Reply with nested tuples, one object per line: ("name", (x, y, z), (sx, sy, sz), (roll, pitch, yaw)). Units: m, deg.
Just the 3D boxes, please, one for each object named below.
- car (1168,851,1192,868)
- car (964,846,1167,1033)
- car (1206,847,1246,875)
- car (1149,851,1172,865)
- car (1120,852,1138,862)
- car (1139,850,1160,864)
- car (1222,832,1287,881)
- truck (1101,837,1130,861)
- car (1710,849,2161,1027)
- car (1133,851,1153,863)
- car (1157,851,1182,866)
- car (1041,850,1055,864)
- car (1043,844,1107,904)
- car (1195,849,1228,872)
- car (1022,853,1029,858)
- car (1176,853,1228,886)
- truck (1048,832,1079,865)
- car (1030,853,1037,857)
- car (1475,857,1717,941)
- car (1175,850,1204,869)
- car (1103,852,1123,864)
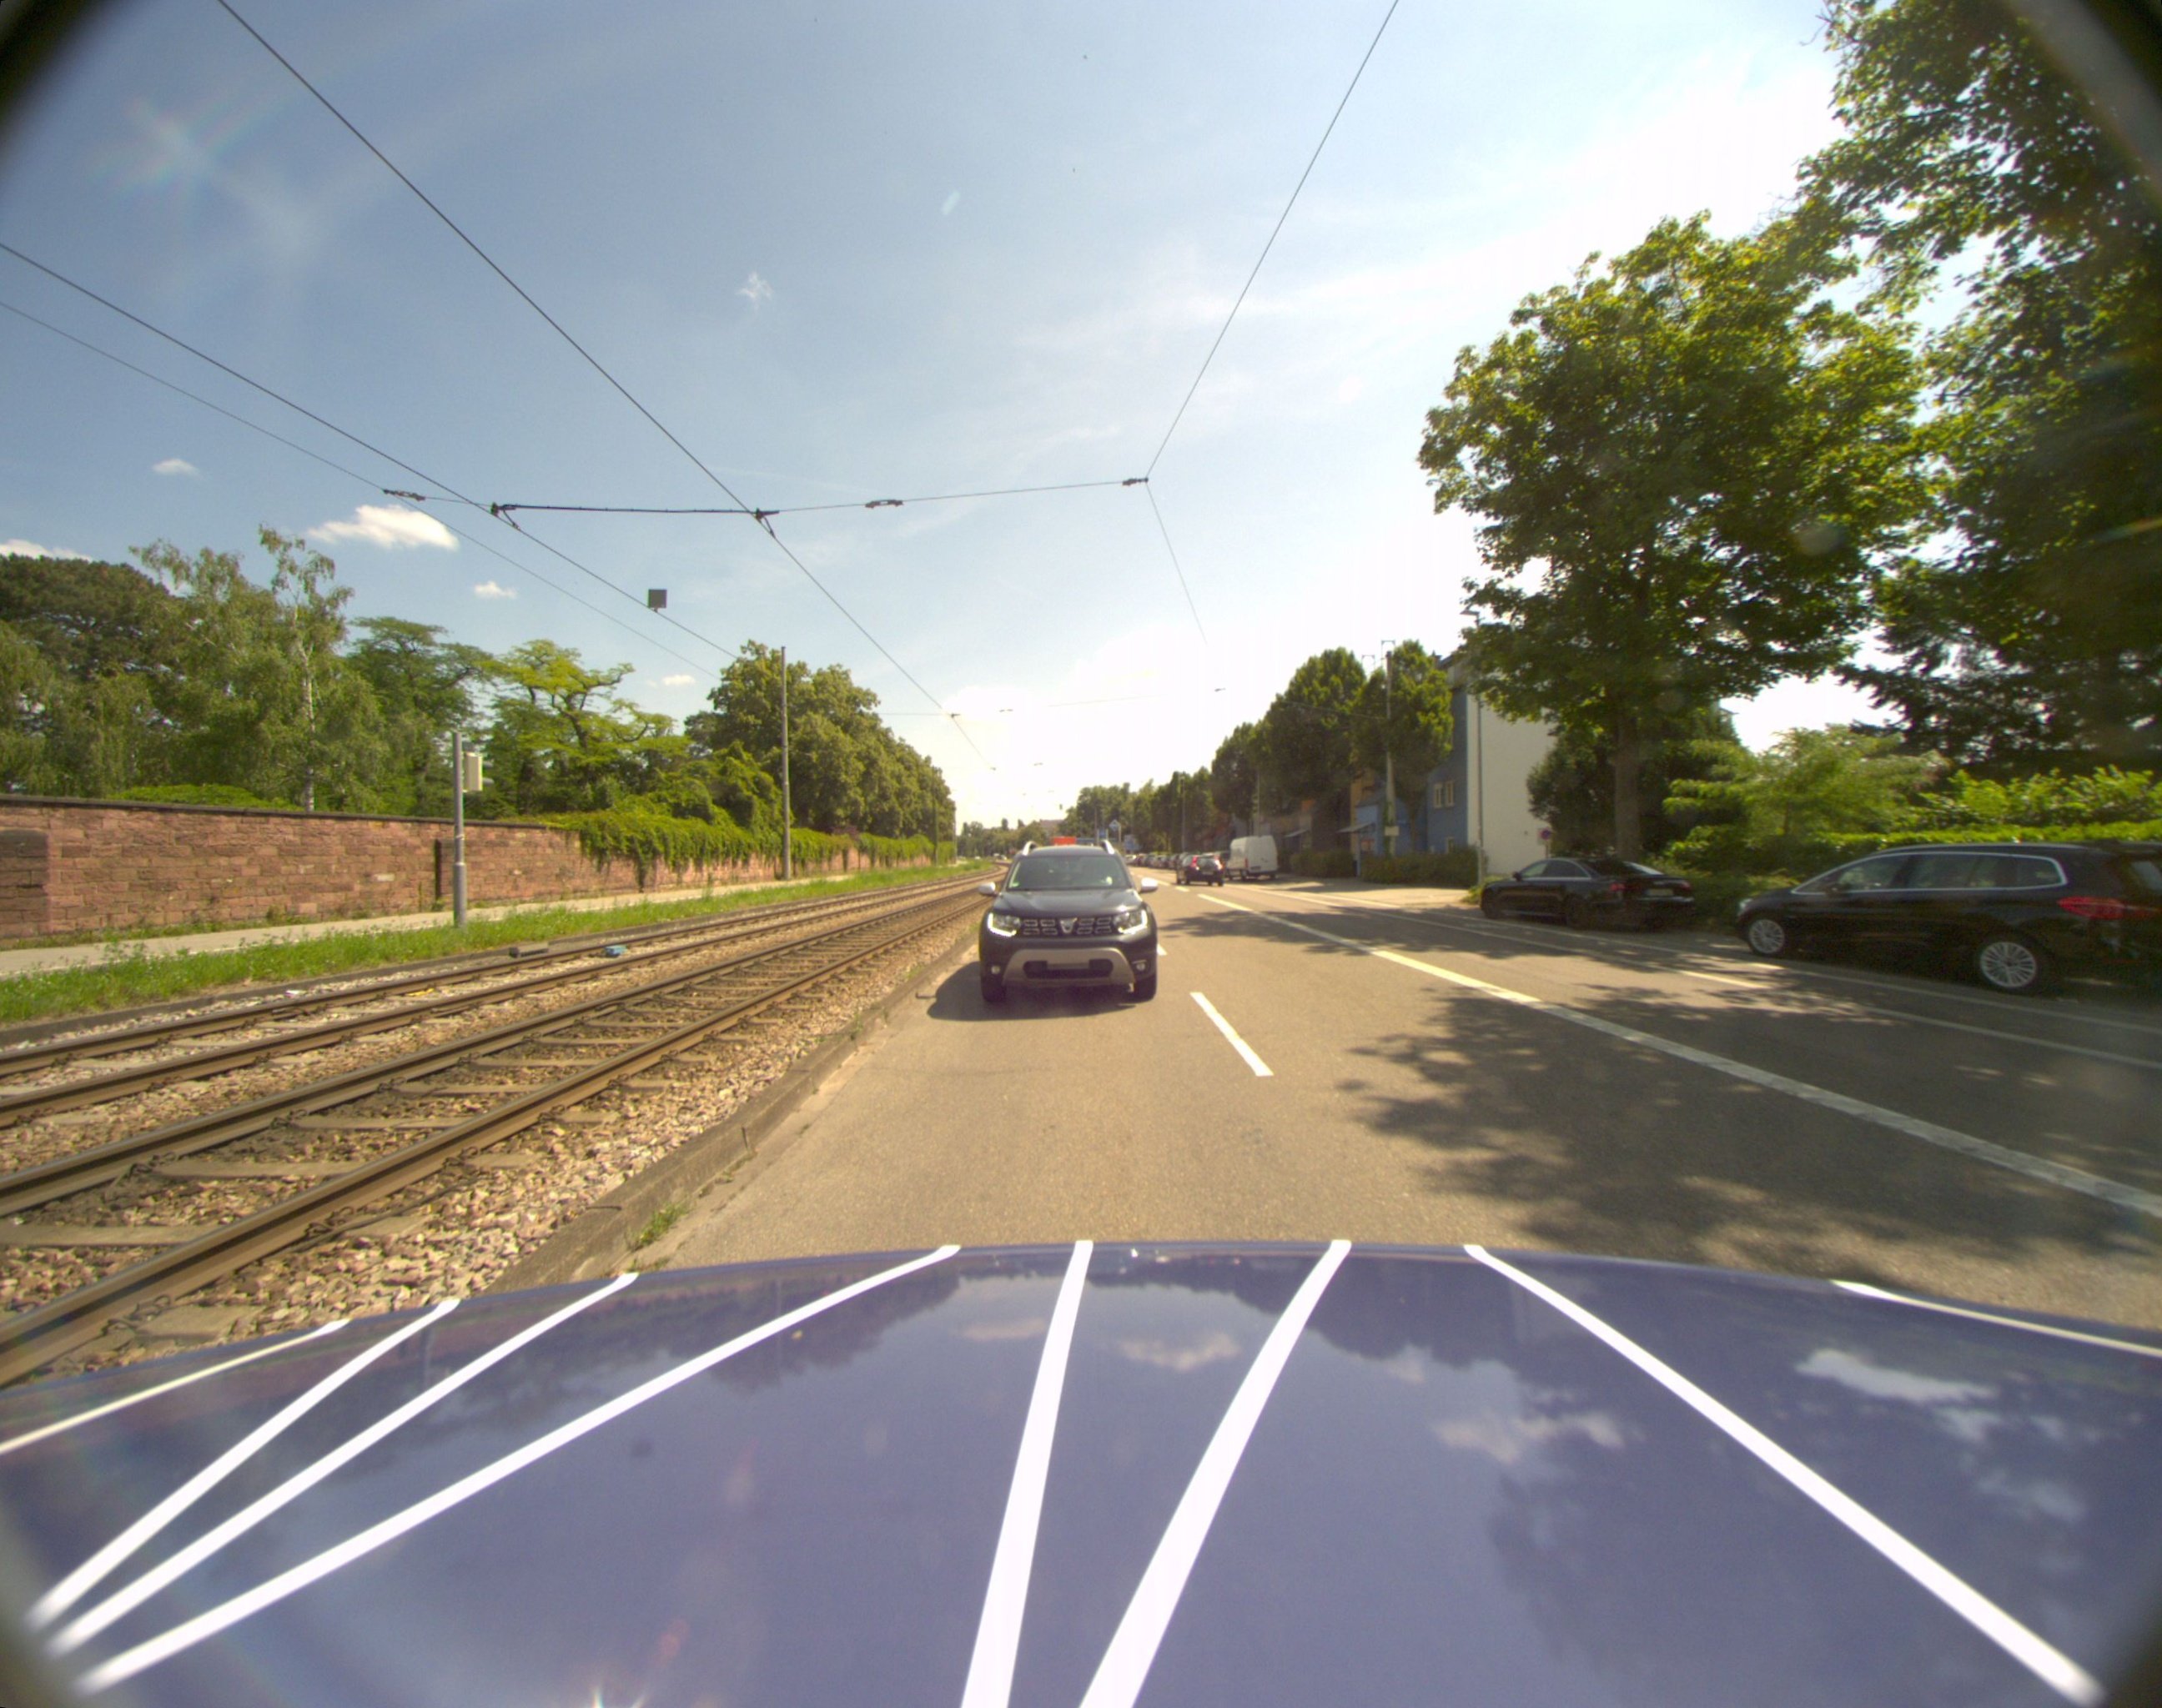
("car", (10.018, 0.539, 77.122), (1.660, 1.608, 4.283), (0, 1, -3))
("car", (-0.170, 0.775, 9.283), (1.801, 1.652, 4.787), (-1, 0, -1))
("car", (10.522, 0.472, 55.580), (1.811, 1.884, 5.361), (-3, 0, 0))
("car", (9.318, 0.417, 89.251), (1.660, 1.499, 4.892), (-3, 1, -6))
("car", (6.818, 0.387, 108.834), (1.661, 1.402, 4.393), (0, 0, -9))
("car", (8.526, 0.400, 94.574), (1.660, 1.600, 4.685), (-3, 0, -5))
("car", (10.703, 0.154, 47.481), (2.329, 2.635, 7.035), (-4, 0, 1))
("truck", (5.425, -0.691, 120.574), (2.840, 3.528, 8.164), (-3, 0, -9))
("car", (10.588, 0.770, 9.340), (1.779, 1.595, 4.636), (-2, 0, -2))
("car", (8.145, 0.399, 100.566), (1.661, 1.600, 4.170), (-1, 0, -9))
("car", (9.632, 0.477, 83.177), (1.746, 1.438, 4.961), (-2, 0, -4))
("car", (-5.023, 0.420, 114.811), (1.999, 2.002, 3.998), (-1, 1, -5))
("car", (-0.199, 0.571, 24.176), (1.801, 1.683, 4.143), (-2, 1, -1))
("car", (10.482, 0.489, 61.299), (1.721, 1.742, 4.903), (-1, 0, -1))
("car", (-17.429, 0.401, 236.952), (2.000, 1.379, 3.997), (0, 0, -8))
("car", (5.596, 0.689, 35.662), (1.682, 1.390, 4.005), (2, 0, -1))
("truck", (-2.050, -0.648, 87.129), (2.847, 3.574, 8.700), (-1, 1, -6))
("car", (-15.020, 0.388, 238.312), (2.000, 1.379, 3.997), (0, 0, -8))
("car", (10.509, 0.815, 16.070), (1.779, 1.447, 4.803), (-1, 0, -2))
("car", (10.208, 0.483, 71.674), (1.756, 1.706, 4.886), (0, 0, -3))
("car", (3.739, 0.457, 89.768), (1.780, 1.451, 4.192), (1, 0, -6))
